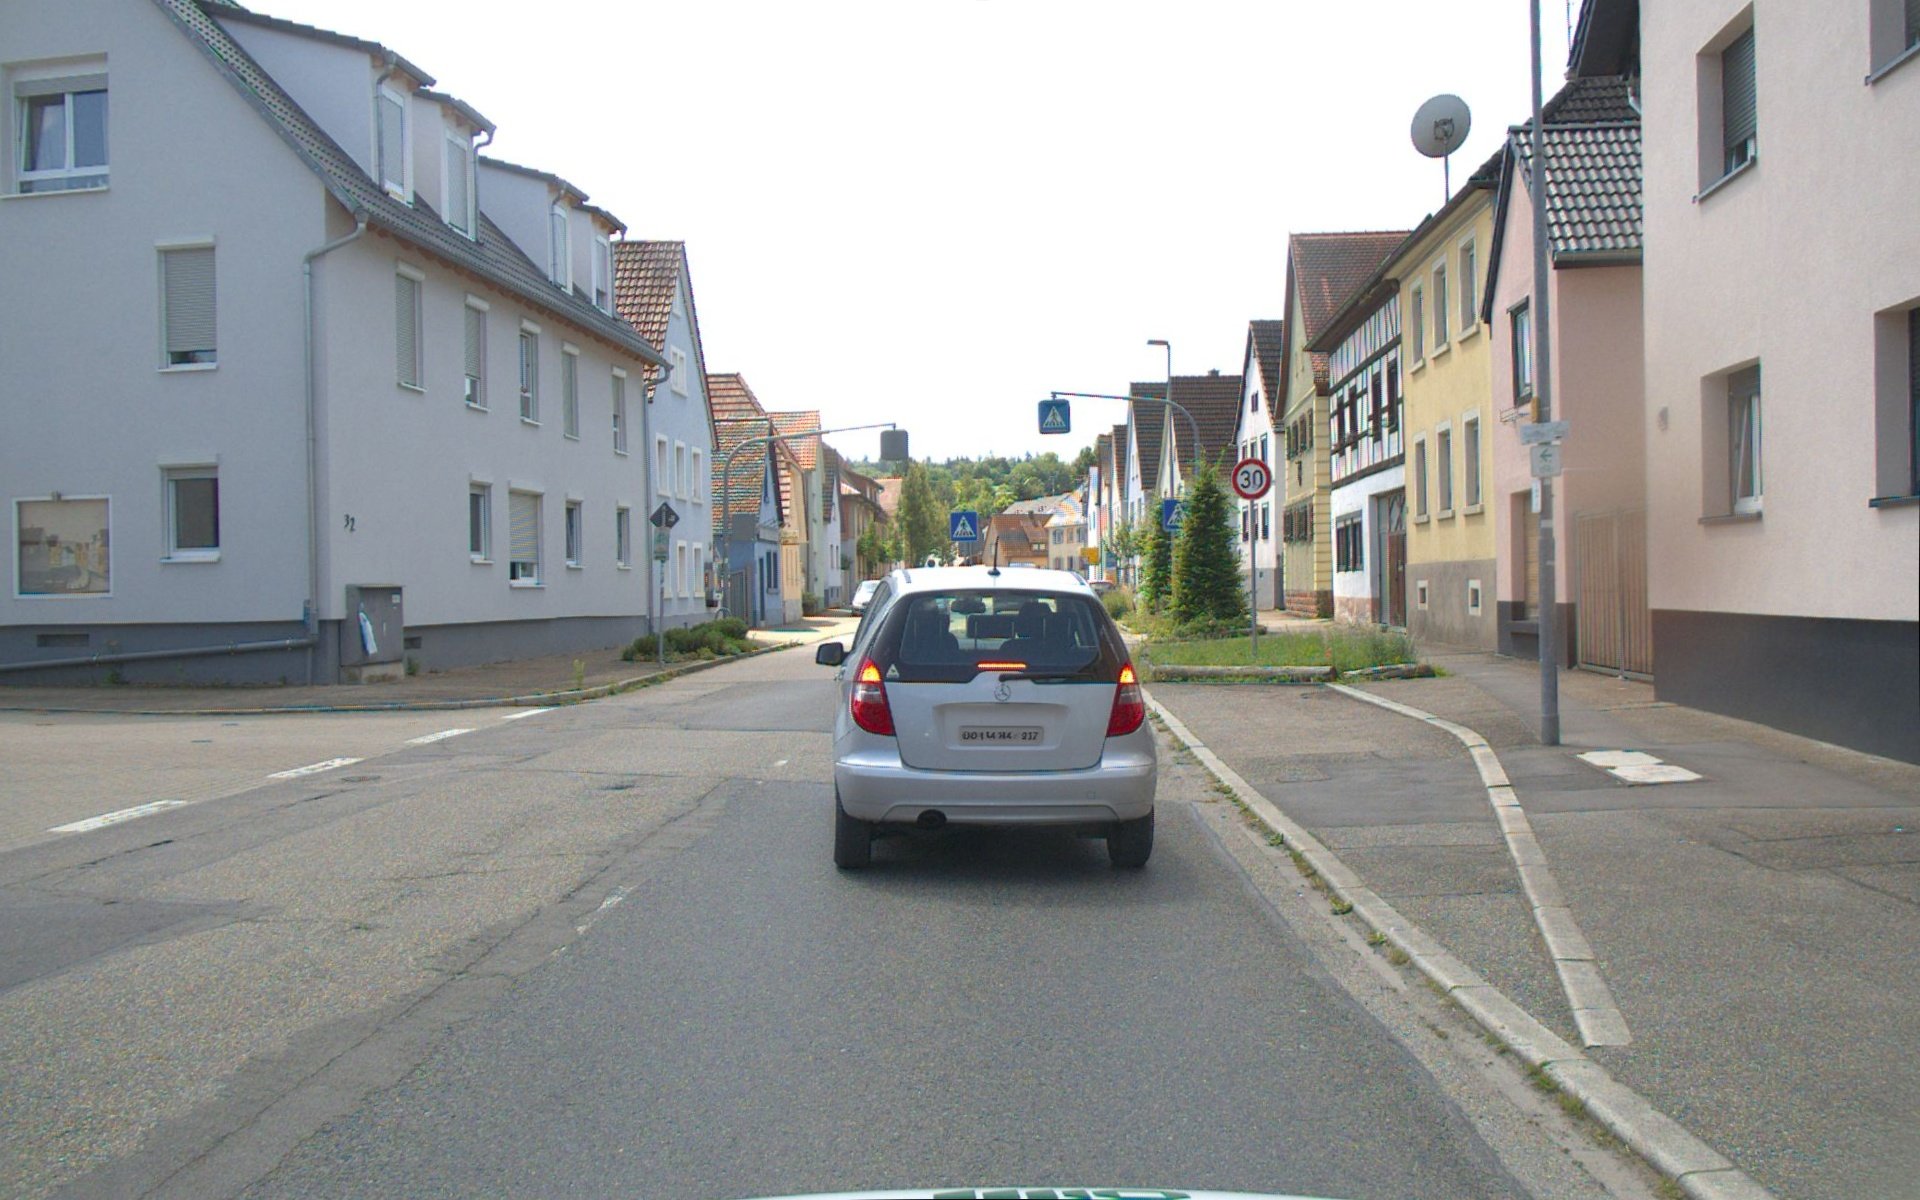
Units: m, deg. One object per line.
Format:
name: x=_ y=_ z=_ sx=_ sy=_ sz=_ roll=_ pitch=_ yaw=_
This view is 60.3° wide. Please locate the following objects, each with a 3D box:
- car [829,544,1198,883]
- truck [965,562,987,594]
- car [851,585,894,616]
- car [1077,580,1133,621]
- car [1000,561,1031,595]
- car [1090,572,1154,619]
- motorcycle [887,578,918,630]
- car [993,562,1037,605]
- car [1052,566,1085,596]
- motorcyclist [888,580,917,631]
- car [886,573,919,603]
car: x=0.131 y=0.574 z=10.120 sx=1.775 sy=1.672 sz=3.725 roll=1 pitch=0 yaw=-6
truck: x=1.477 y=-1.943 z=149.098 sx=1.952 sy=2.581 sz=6.739 roll=0 pitch=-1 yaw=1
car: x=-4.066 y=0.023 z=76.403 sx=1.954 sy=1.344 sz=3.705 roll=0 pitch=-1 yaw=-4
car: x=5.712 y=0.031 z=65.498 sx=1.952 sy=1.534 sz=4.000 roll=0 pitch=-1 yaw=1
car: x=3.579 y=-1.431 z=107.138 sx=1.952 sy=2.049 sz=4.000 roll=0 pitch=-1 yaw=1
car: x=5.658 y=-0.125 z=58.315 sx=1.952 sy=1.534 sz=4.000 roll=0 pitch=-1 yaw=1
motorcycle: x=-1.791 y=0.108 z=51.893 sx=0.862 sy=1.588 sz=1.968 roll=0 pitch=1 yaw=1
car: x=2.531 y=-0.741 z=77.120 sx=1.952 sy=1.848 sz=4.000 roll=0 pitch=-1 yaw=0
car: x=7.116 y=-1.256 z=108.928 sx=1.952 sy=1.848 sz=4.000 roll=0 pitch=-1 yaw=0
motorcyclist: x=-1.804 y=0.169 z=51.822 sx=0.878 sy=1.582 sz=0.807 roll=0 pitch=1 yaw=1
car: x=-3.291 y=-0.663 z=94.911 sx=1.632 sy=1.624 sz=4.000 roll=0 pitch=-1 yaw=1
